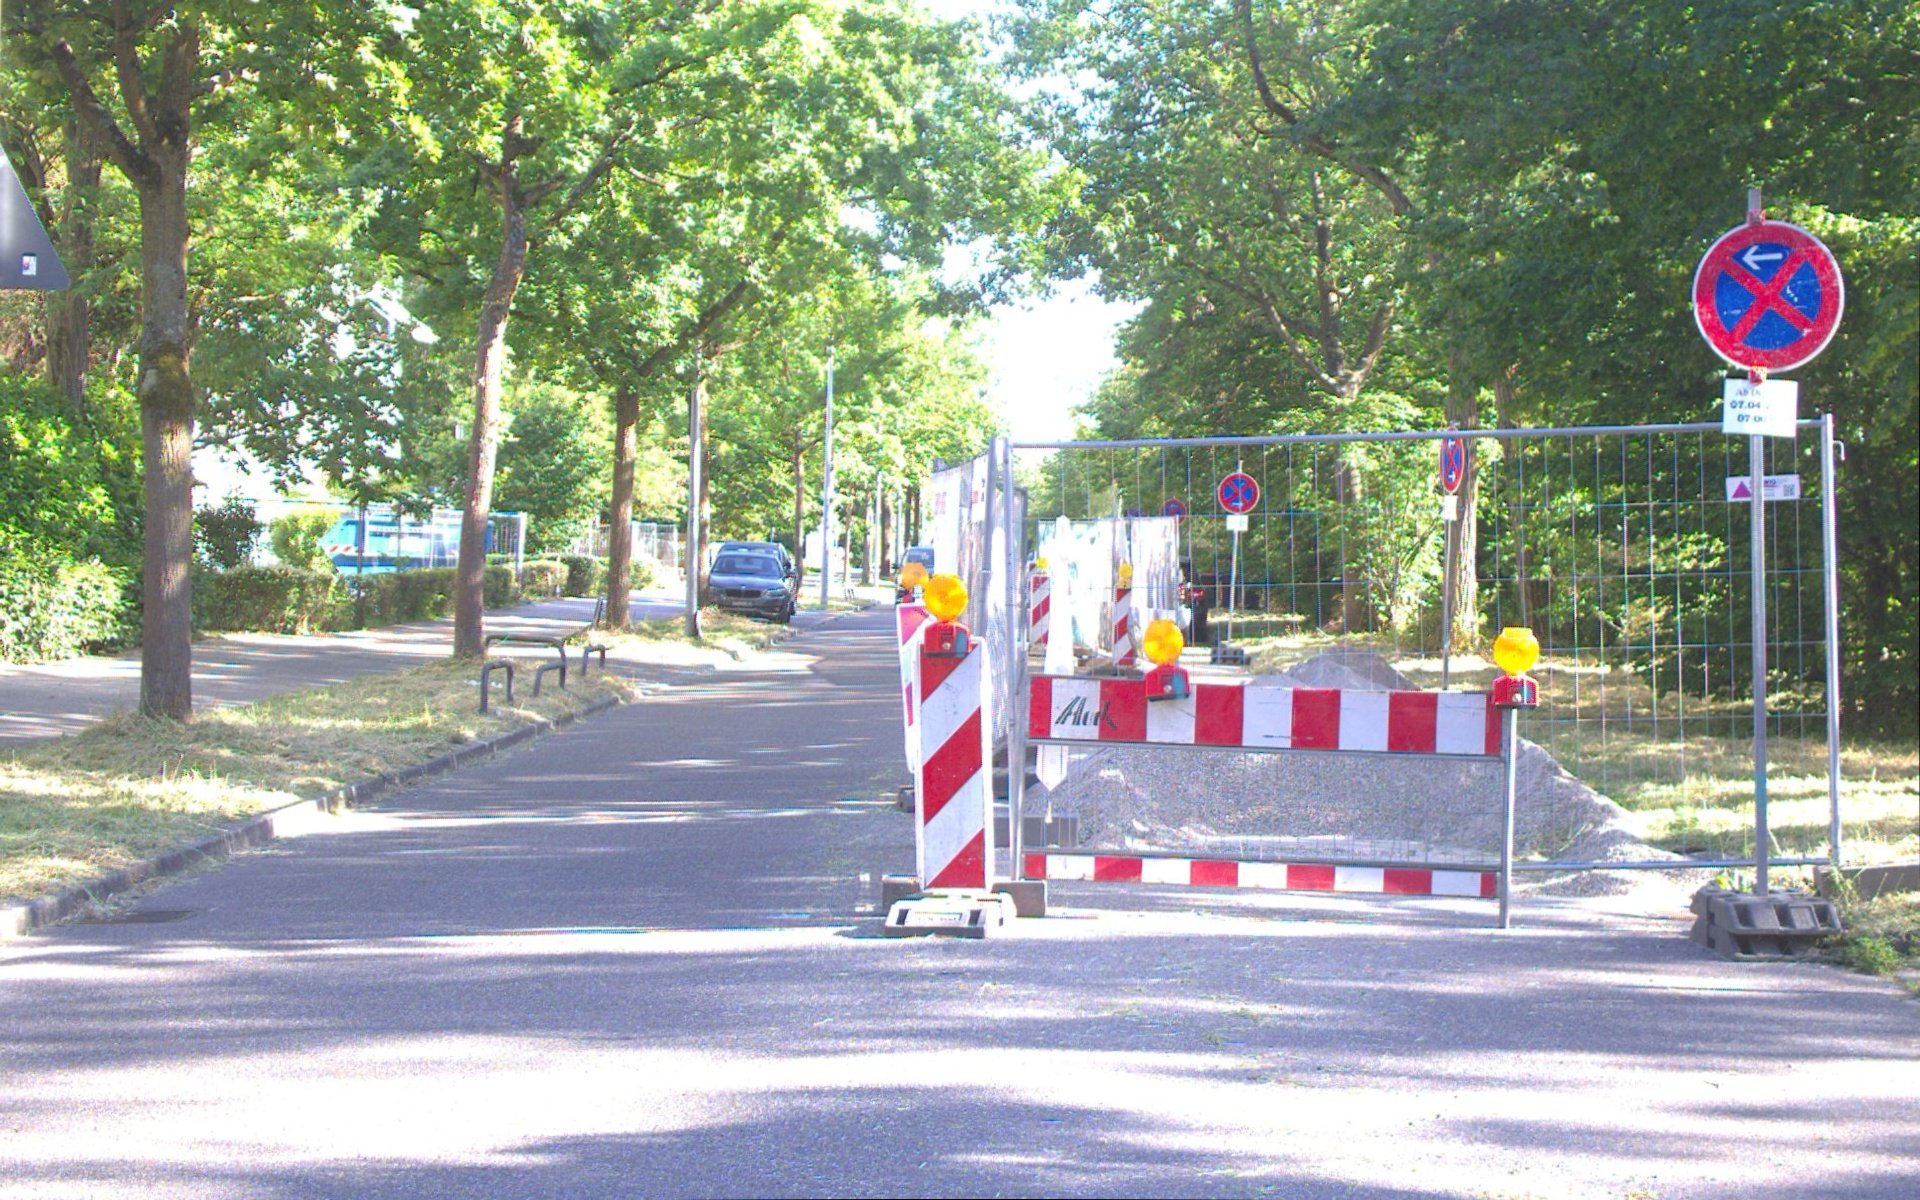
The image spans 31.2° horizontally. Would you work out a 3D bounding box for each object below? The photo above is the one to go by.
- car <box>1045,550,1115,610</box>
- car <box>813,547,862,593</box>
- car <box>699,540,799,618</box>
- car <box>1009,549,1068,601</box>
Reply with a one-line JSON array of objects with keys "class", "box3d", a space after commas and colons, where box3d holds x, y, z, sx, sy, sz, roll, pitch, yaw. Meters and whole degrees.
[{"class": "car", "box3d": [2.720, -0.456, 78.274, 1.361, 1.298, 3.481, 2, 0, -1]}, {"class": "car", "box3d": [-3.694, -0.899, 103.952, 1.361, 1.298, 3.481, 2, 0, -1]}, {"class": "car", "box3d": [-4.187, -0.432, 68.673, 1.751, 1.473, 3.836, 1, 1, 0]}, {"class": "car", "box3d": [2.075, -0.655, 91.259, 1.361, 1.298, 3.481, 2, 0, -1]}]
